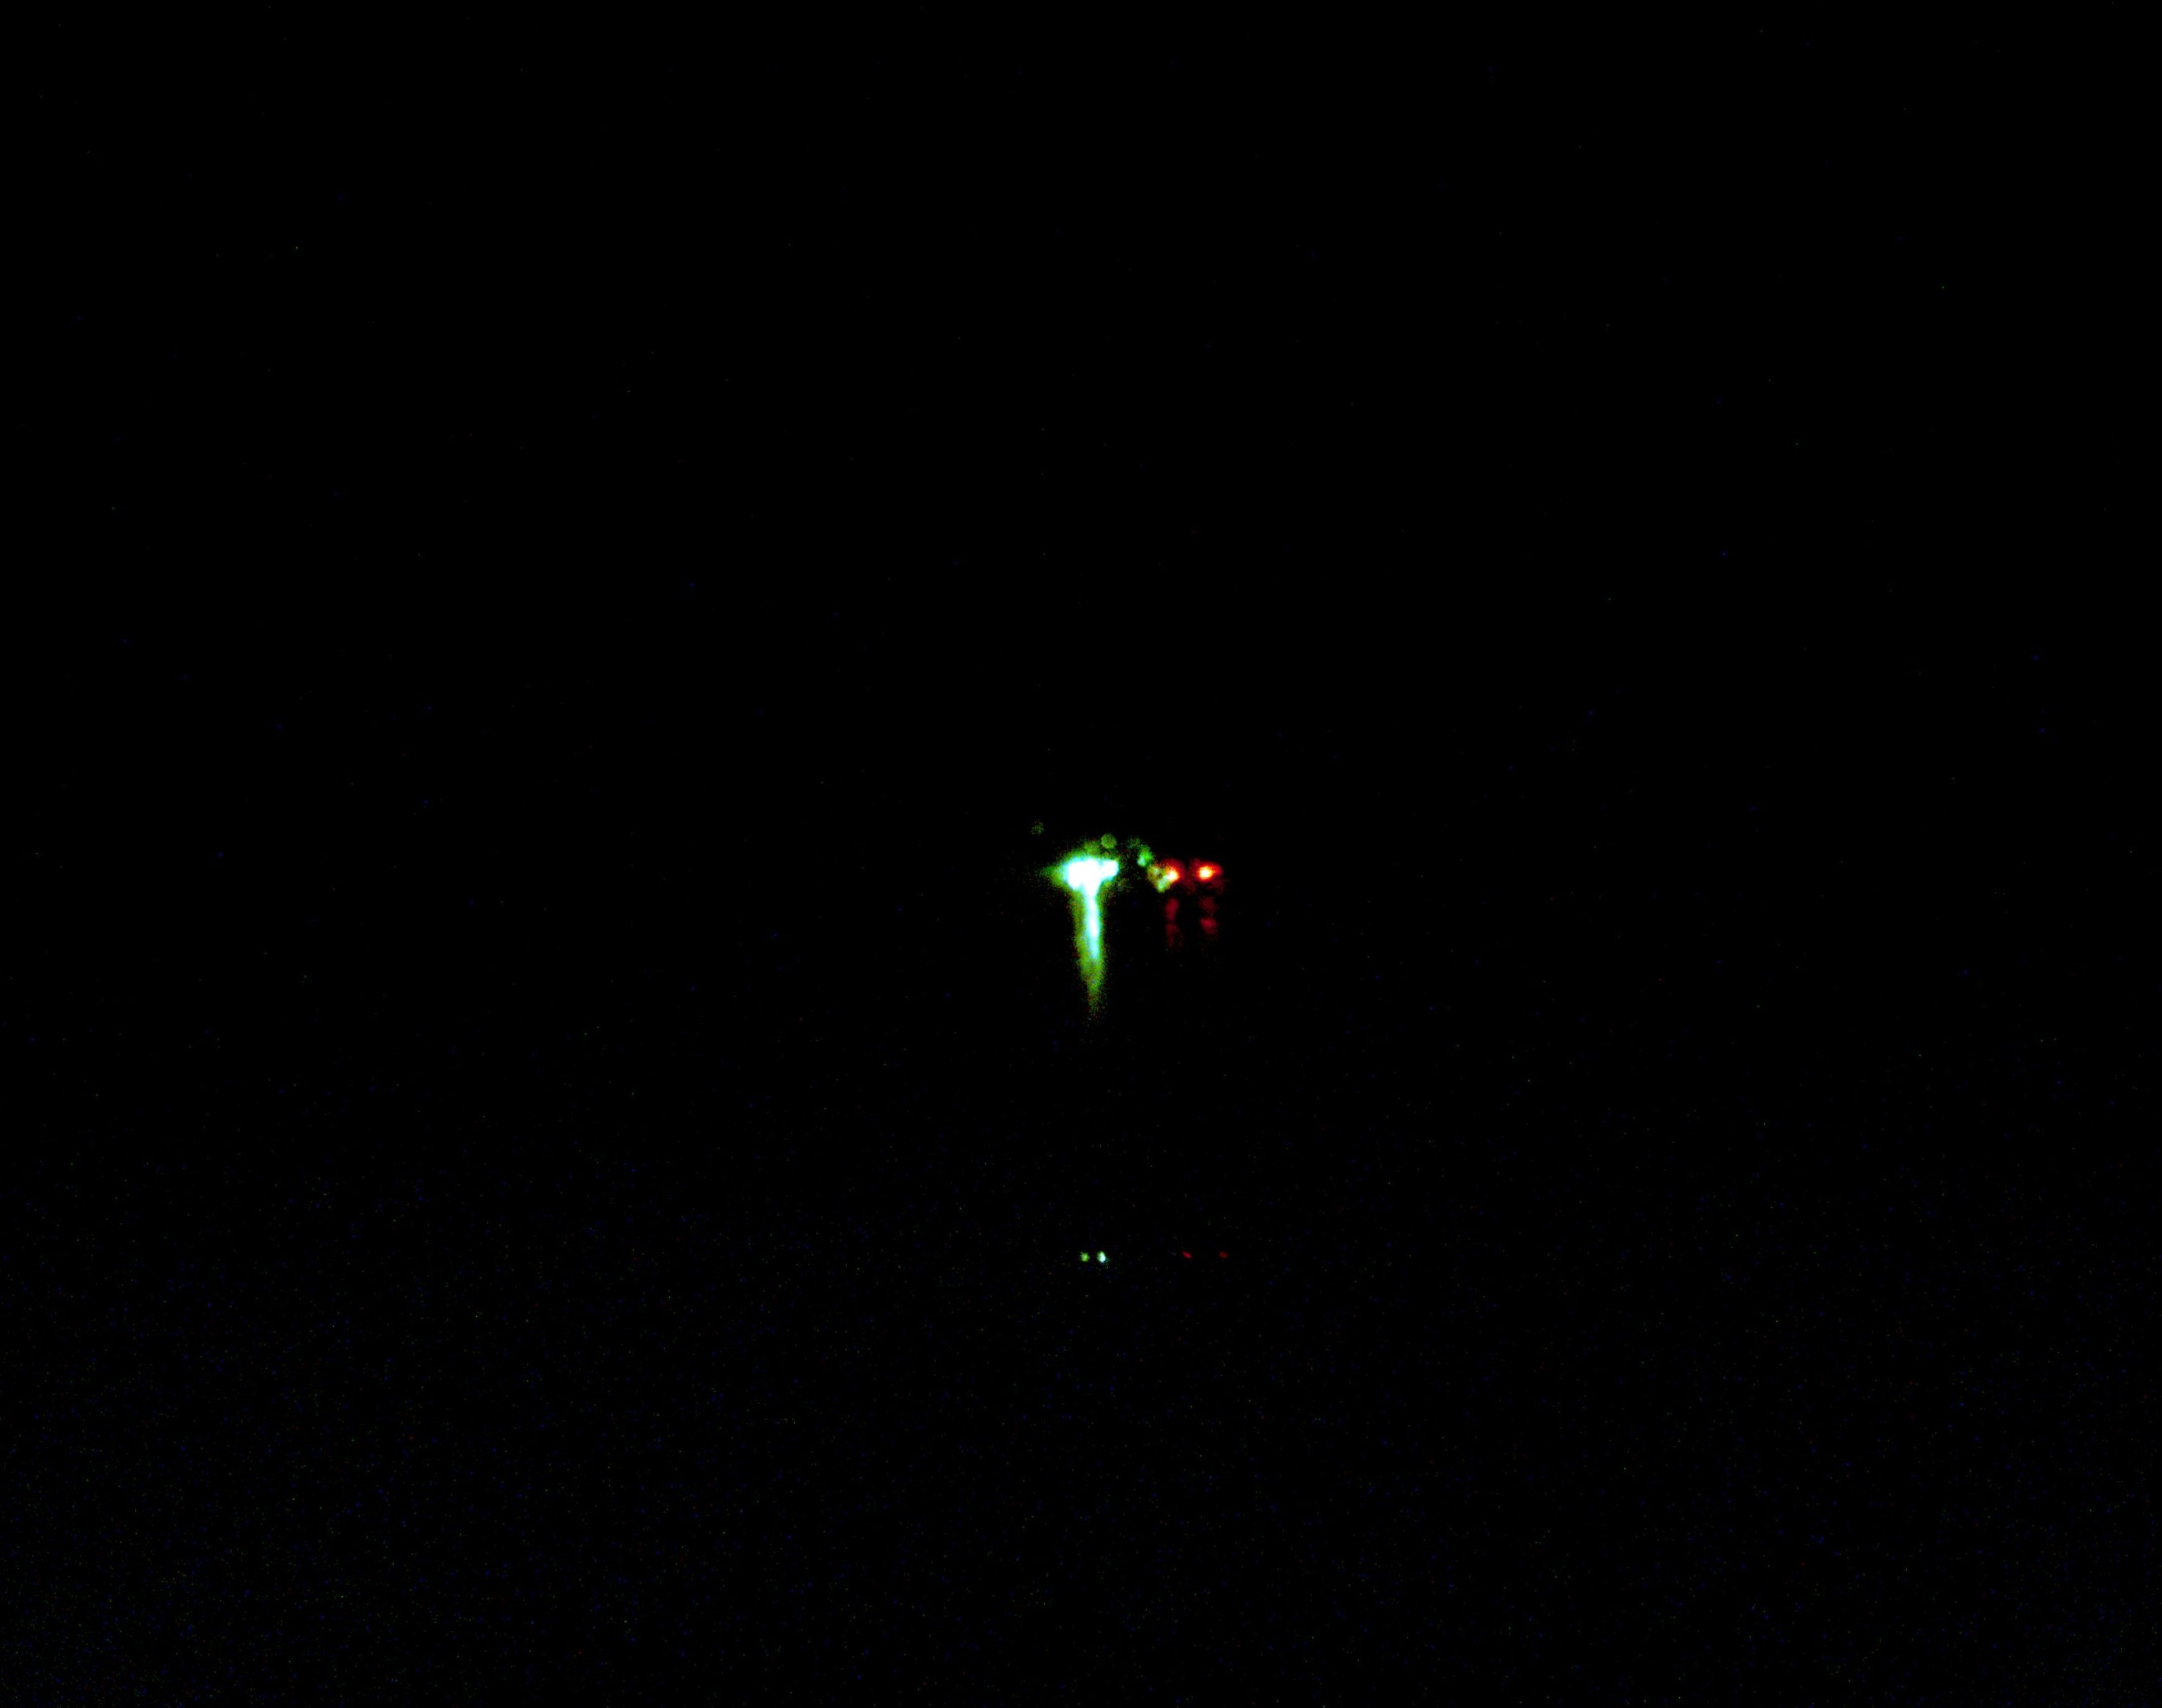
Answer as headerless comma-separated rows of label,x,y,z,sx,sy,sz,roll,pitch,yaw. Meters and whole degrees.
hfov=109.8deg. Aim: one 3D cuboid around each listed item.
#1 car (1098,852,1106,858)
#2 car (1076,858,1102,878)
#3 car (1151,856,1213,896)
car,5.744,0.298,212.044,1.999,1.566,4.661,-3,0,0
car,0.671,1.149,65.135,1.998,1.575,4.000,-4,0,0
car,3.876,0.814,29.637,1.751,1.417,3.685,-1,0,-3
